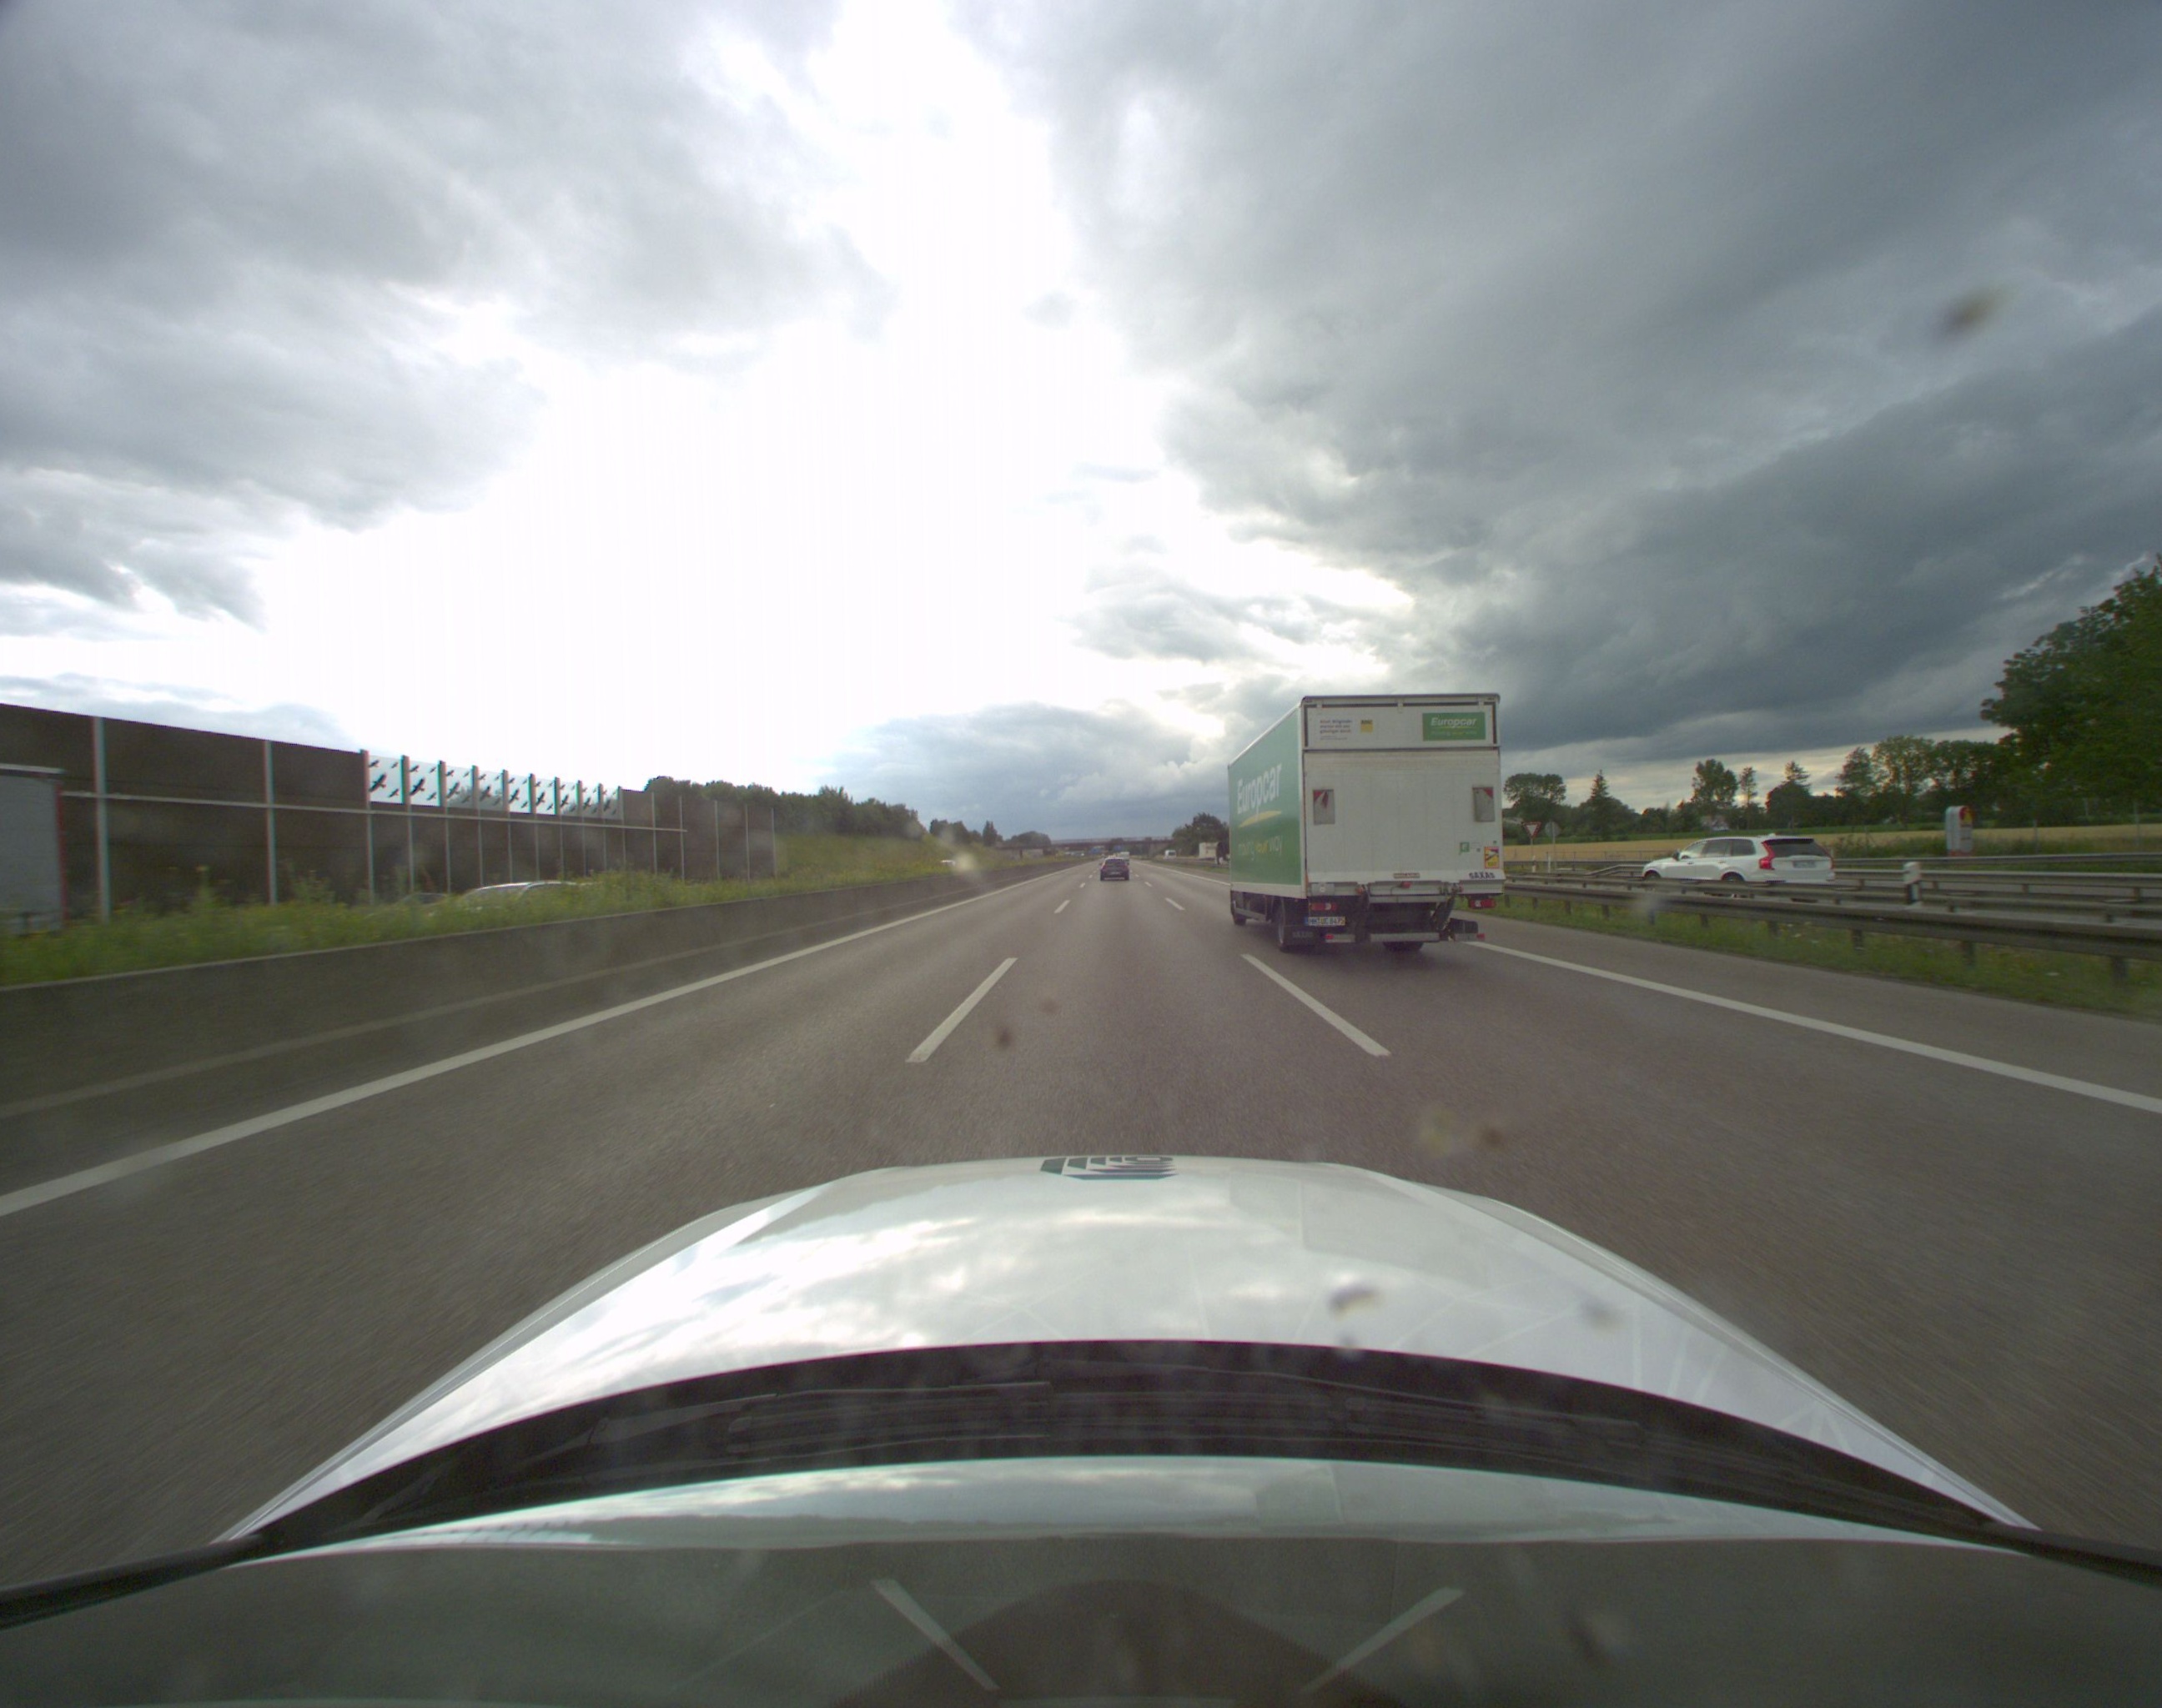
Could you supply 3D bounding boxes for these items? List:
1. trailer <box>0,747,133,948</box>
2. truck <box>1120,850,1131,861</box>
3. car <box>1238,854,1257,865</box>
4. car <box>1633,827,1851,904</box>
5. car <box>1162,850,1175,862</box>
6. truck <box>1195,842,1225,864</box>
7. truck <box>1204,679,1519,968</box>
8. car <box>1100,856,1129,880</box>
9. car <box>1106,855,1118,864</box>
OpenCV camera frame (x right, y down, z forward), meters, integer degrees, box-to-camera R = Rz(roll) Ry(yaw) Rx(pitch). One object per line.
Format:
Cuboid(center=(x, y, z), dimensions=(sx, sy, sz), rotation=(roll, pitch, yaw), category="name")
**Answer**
Cuboid(center=(-19.717, -0.086, 8.769), dimensions=(2.809, 3.377, 13.516), rotation=(-2, 0, 2), category="trailer")
Cuboid(center=(11.955, 0.382, 220.058), dimensions=(2.700, 2.964, 12.451), rotation=(0, 0, 2), category="truck")
Cuboid(center=(24.789, 0.808, 121.438), dimensions=(1.911, 1.550, 4.923), rotation=(-2, 0, 0), category="car")
Cuboid(center=(17.328, 0.281, 21.770), dimensions=(1.821, 1.757, 5.068), rotation=(-2, 0, 2), category="car")
Cuboid(center=(19.455, 0.519, 181.271), dimensions=(2.212, 2.568, 6.259), rotation=(-1, 0, 2), category="car")
Cuboid(center=(21.611, -0.132, 136.997), dimensions=(3.098, 3.471, 8.880), rotation=(0, 0, -3), category="truck")
Cuboid(center=(4.108, -0.364, 14.485), dimensions=(2.759, 3.504, 9.066), rotation=(-1, 0, 2), category="truck")
Cuboid(center=(2.113, 0.834, 50.996), dimensions=(1.736, 1.389, 4.002), rotation=(-1, 0, 2), category="car")
Cuboid(center=(5.096, 0.879, 133.915), dimensions=(1.986, 1.298, 4.001), rotation=(-2, 0, 1), category="car")
